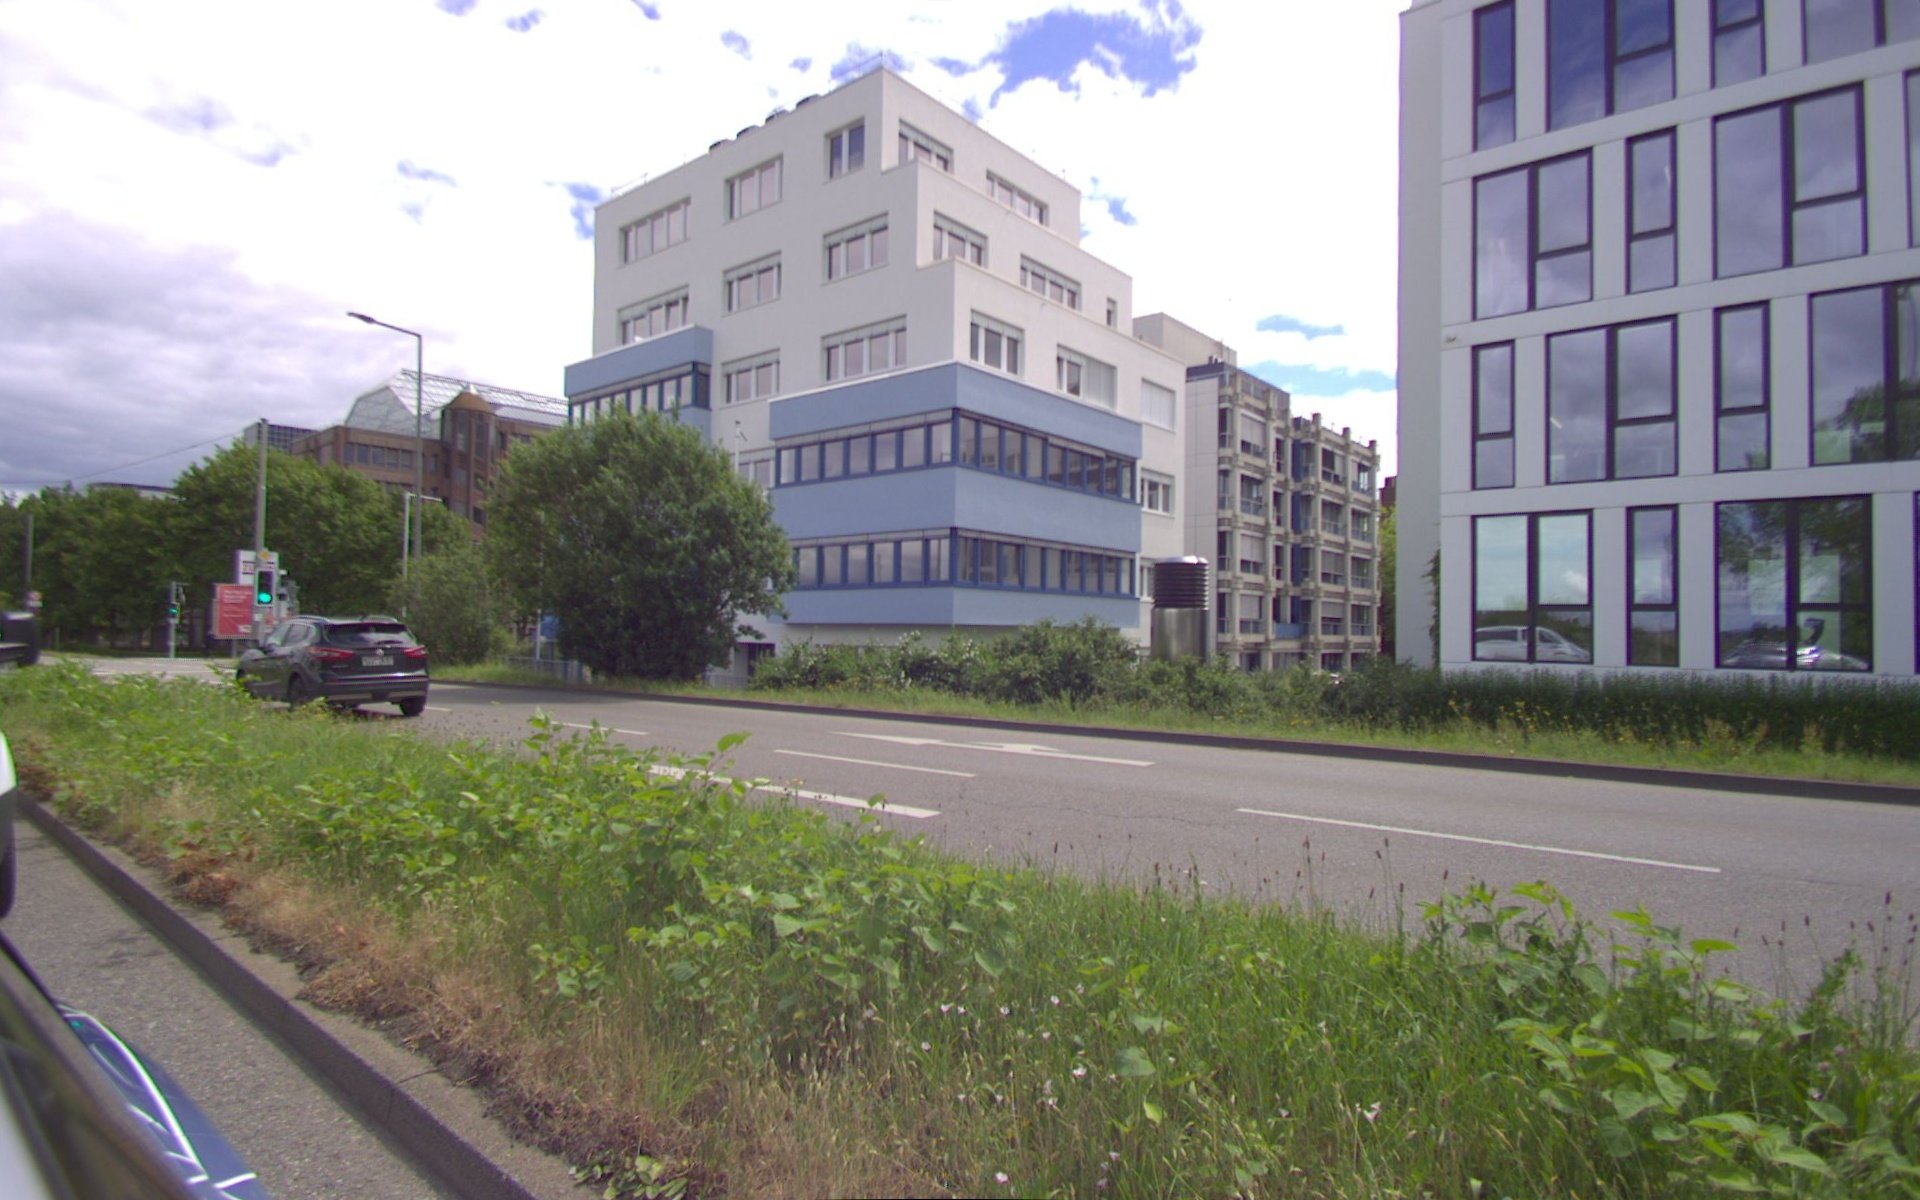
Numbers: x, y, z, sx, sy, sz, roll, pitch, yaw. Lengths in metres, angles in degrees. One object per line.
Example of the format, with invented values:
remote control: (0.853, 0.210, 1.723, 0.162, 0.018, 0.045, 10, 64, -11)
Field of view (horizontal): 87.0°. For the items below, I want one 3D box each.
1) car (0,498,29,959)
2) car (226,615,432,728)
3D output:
car: (-6.566, 0.593, 5.318, 5.052, 1.965, 1.942, -2, -1, 41)
car: (-10.303, 1.058, 16.412, 4.041, 1.614, 1.678, -1, -2, 40)
